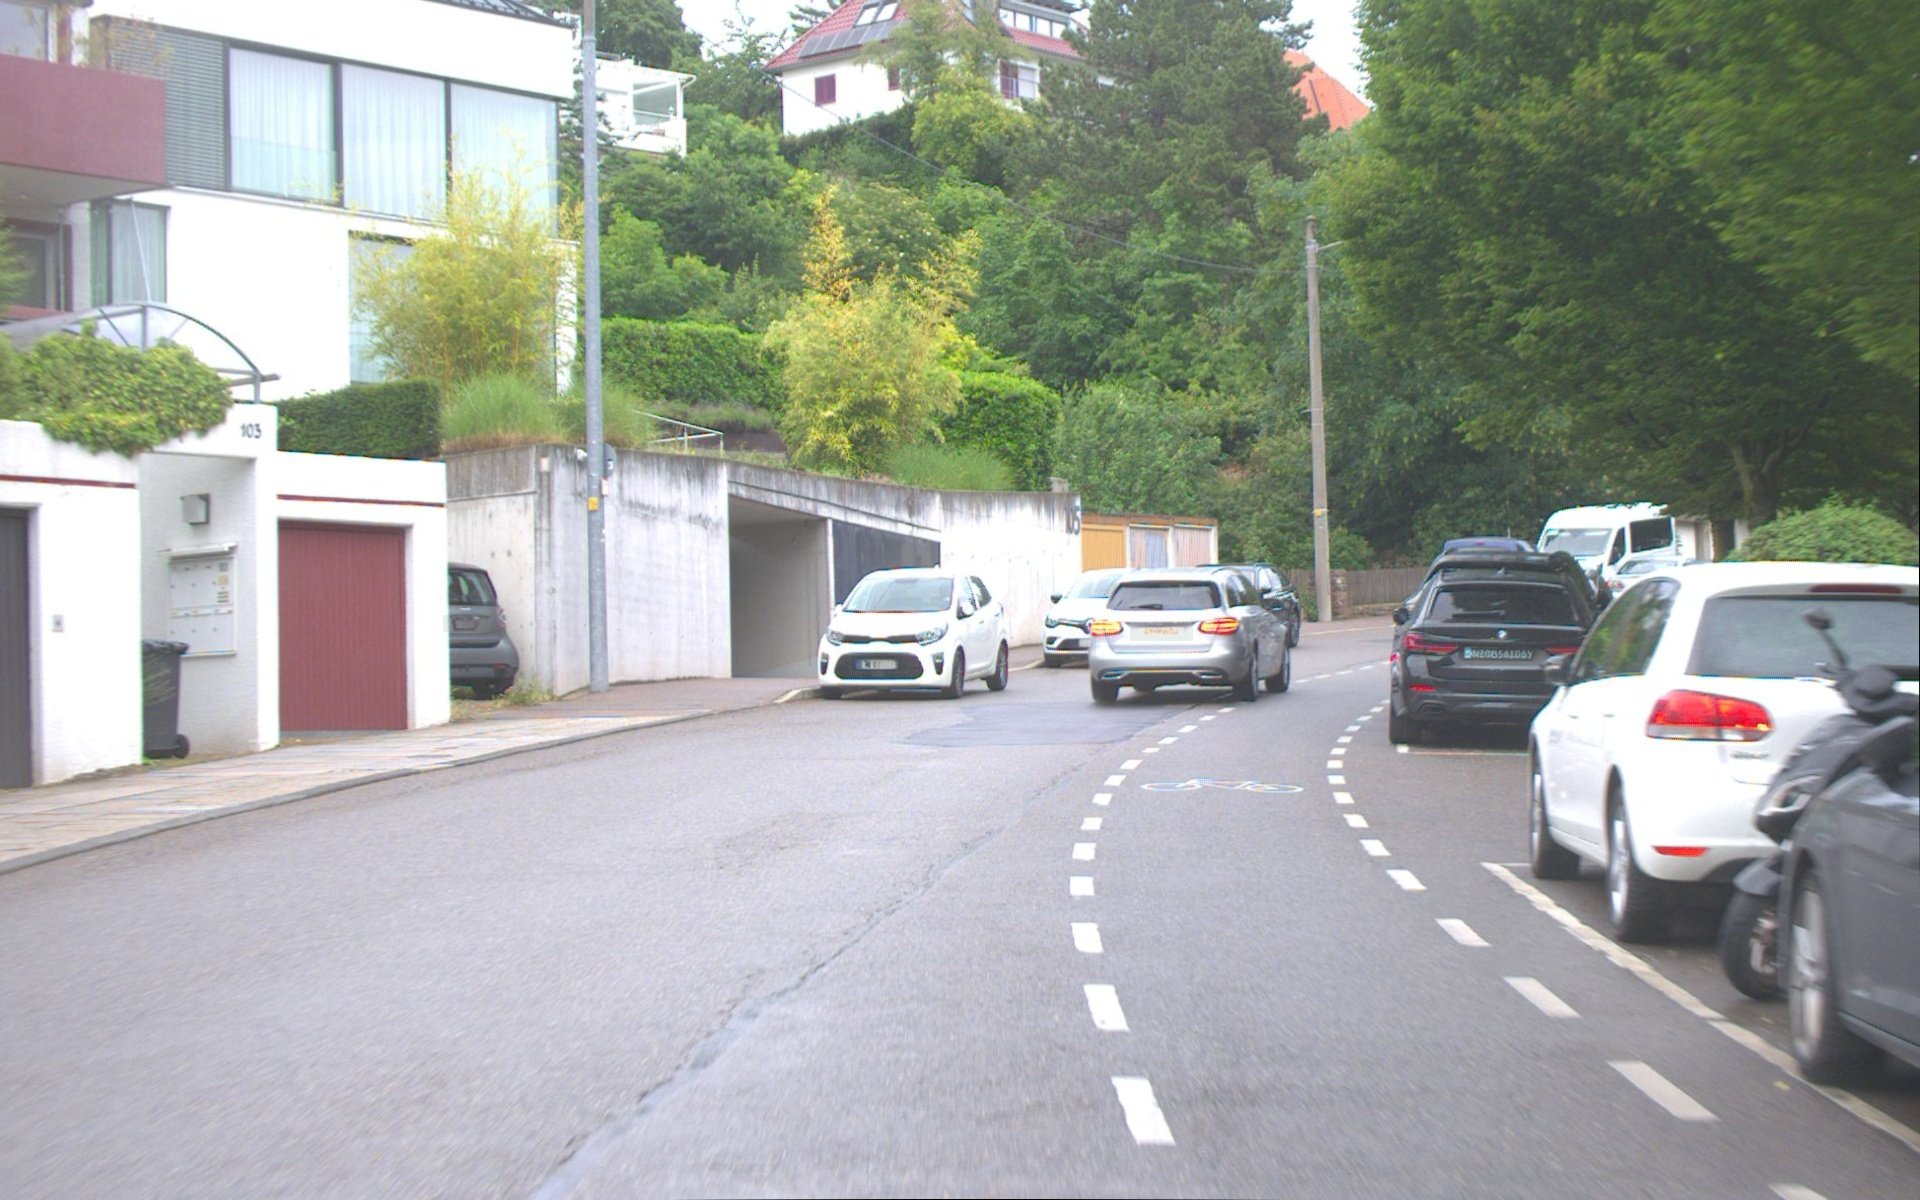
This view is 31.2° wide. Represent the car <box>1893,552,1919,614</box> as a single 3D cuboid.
[{"bbox_3d":[23.583,-0.420,81.689,1.646,1.419,4.280,2,2,30],"label":"car"}]

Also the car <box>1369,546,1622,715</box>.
[{"bbox_3d":[5.722,0.278,36.202,2.055,1.650,5.232,0,0,15],"label":"car"}]

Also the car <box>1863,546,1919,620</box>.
[{"bbox_3d":[21.410,-0.397,75.802,1.779,1.547,4.721,1,2,29],"label":"car"}]

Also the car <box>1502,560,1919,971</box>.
[{"bbox_3d":[3.369,0.591,14.620,1.657,1.484,4.000,1,1,3],"label":"car"}]

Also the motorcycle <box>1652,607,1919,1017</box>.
[{"bbox_3d":[3.426,0.715,11.747,1.913,1.325,0.788,1,1,-2],"label":"motorcycle"}]

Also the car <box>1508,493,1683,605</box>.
[{"bbox_3d":[15.167,-1.242,81.764,2.098,2.541,6.087,-1,1,30],"label":"car"}]

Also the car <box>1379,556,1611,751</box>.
[{"bbox_3d":[4.650,0.413,30.311,1.855,1.575,4.856,0,0,7],"label":"car"}]

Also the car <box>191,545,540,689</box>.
[{"bbox_3d":[-6.731,0.159,38.732,3.928,1.473,1.763,2,1,41],"label":"car"}]

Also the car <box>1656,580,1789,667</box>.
[{"bbox_3d":[13.820,0.393,62.159,1.670,1.466,3.705,2,1,23],"label":"car"}]

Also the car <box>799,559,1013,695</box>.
[{"bbox_3d":[-0.579,0.280,40.390,1.628,1.510,3.830,-1,1,13],"label":"car"}]

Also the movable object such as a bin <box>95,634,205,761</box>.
[{"bbox_3d":[-6.337,0.753,26.895,0.544,0.960,0.644,1,1,39],"label":"movable object such as a bin"}]

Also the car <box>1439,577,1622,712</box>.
[{"bbox_3d":[7.006,0.492,41.862,1.863,1.464,5.053,2,1,13],"label":"car"}]

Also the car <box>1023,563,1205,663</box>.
[{"bbox_3d":[2.372,0.184,52.078,1.833,1.435,4.037,-1,0,16],"label":"car"}]

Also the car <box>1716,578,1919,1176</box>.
[{"bbox_3d":[3.245,0.672,8.489,1.878,1.412,4.467,0,1,2],"label":"car"}]

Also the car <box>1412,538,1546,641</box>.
[{"bbox_3d":[8.959,-0.191,59.118,1.995,1.702,3.998,0,0,13],"label":"car"}]

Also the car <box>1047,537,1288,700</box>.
[{"bbox_3d":[2.367,0.180,38.124,2.026,1.702,4.213,0,0,13],"label":"car"}]

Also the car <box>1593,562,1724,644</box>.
[{"bbox_3d":[14.833,0.050,72.875,1.996,1.702,3.995,0,0,22],"label":"car"}]

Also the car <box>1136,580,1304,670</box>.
[{"bbox_3d":[4.462,0.393,58.335,1.714,1.454,4.678,-1,0,19],"label":"car"}]
